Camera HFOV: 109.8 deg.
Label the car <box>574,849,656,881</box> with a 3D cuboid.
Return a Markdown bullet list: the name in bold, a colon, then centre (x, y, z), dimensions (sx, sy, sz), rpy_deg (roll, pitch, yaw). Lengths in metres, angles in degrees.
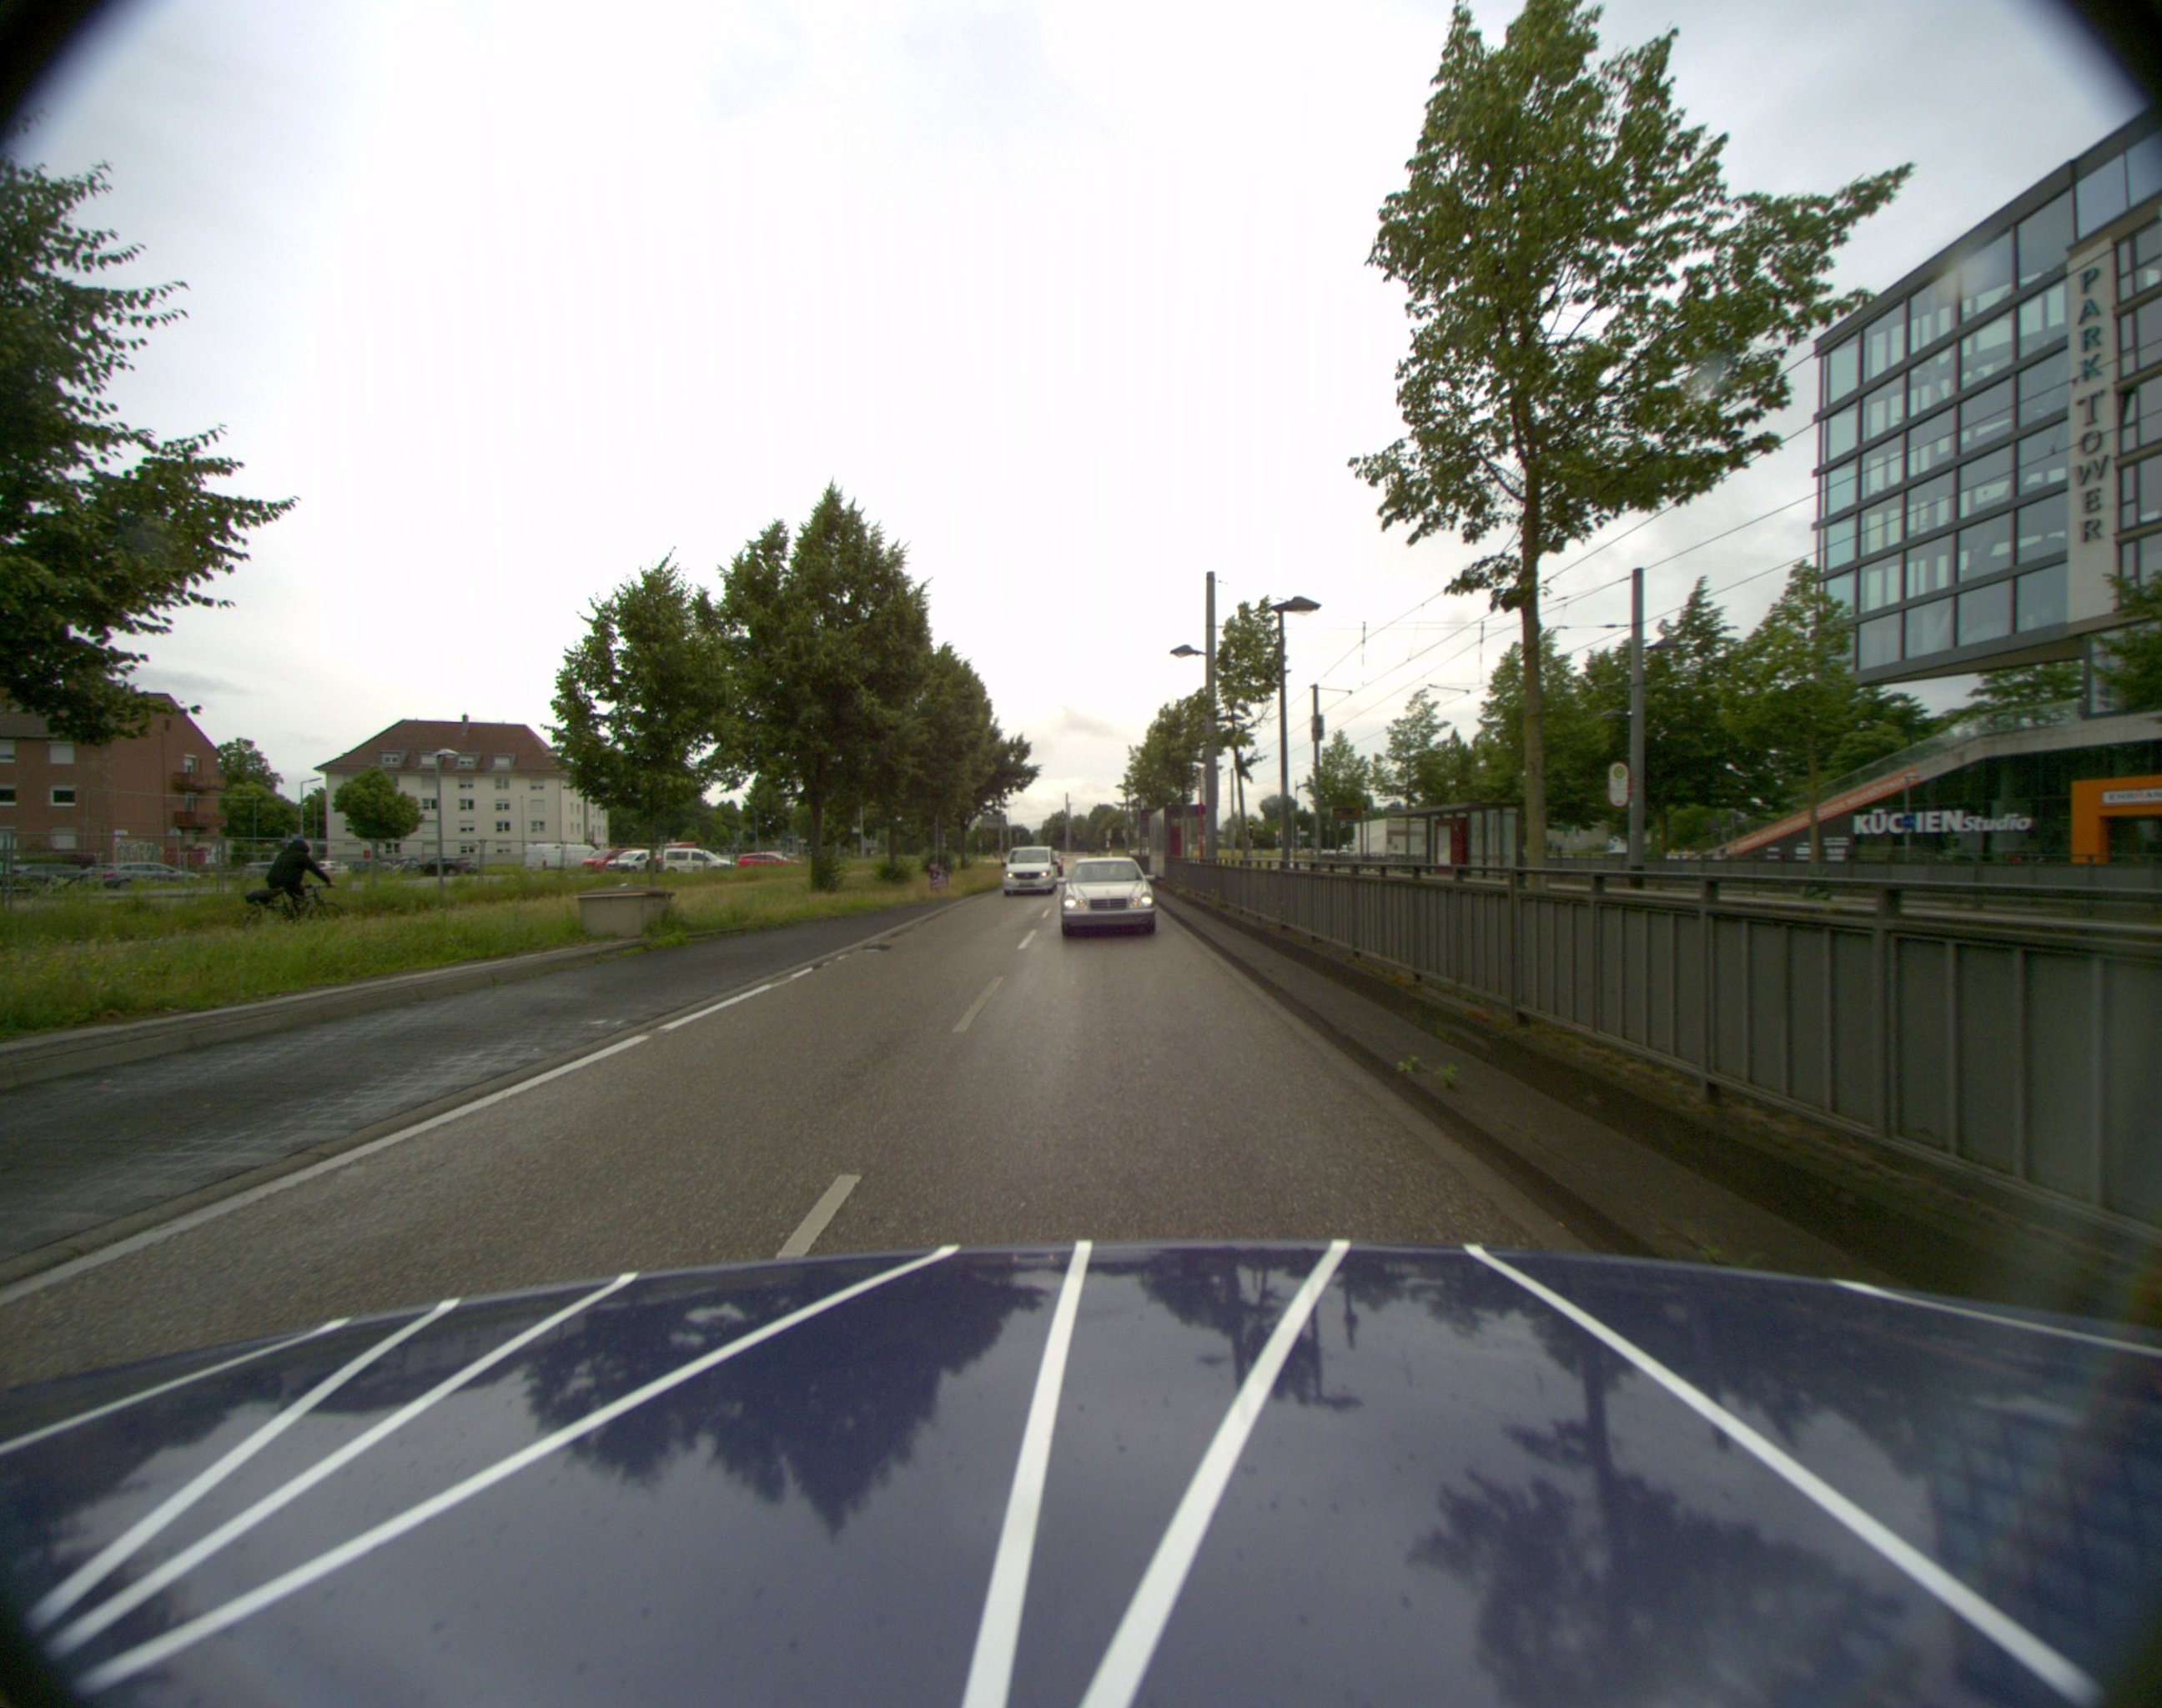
- **car**: centre (-35.133, 0.788, 57.487), dimensions (2.195, 2.297, 5.449), rpy_deg (-1, 0, 9)

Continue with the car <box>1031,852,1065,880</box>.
- **car**: centre (-2.007, 0.734, 47.806), dimensions (1.799, 1.603, 4.245), rpy_deg (0, 1, 2)

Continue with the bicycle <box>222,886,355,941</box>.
- **bicycle**: centre (-14.702, 1.081, 14.172), dimensions (0.548, 0.873, 1.745), rpy_deg (-1, 1, 4)

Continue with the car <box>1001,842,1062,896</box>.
- **car**: centre (-1.905, 0.526, 30.853), dimensions (1.972, 1.968, 5.091), rpy_deg (-1, 1, 1)

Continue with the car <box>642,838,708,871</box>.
- **car**: centre (-29.286, 0.027, 54.951), dimensions (1.996, 2.297, 4.004), rpy_deg (-1, 0, 14)

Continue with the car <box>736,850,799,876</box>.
- **car**: centre (-22.693, 0.653, 55.055), dimensions (3.803, 1.696, 1.680), rpy_deg (-2, 1, 4)

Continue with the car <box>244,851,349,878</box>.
- **car**: centre (-47.633, 0.634, 46.219), dimensions (1.995, 1.444, 4.006), rpy_deg (-2, 1, 27)

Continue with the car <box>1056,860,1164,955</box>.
- **car**: centre (0.533, 0.901, 14.737), dimensions (1.738, 1.451, 4.607), rpy_deg (-1, 0, 1)

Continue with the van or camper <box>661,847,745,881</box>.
- **van or camper**: centre (-23.884, 0.598, 48.090), dimensions (4.334, 2.002, 1.860), rpy_deg (-1, 1, -5)

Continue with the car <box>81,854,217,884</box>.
- **car**: centre (-48.909, 0.756, 40.000), dimensions (1.997, 1.364, 4.003), rpy_deg (-2, 1, 11)

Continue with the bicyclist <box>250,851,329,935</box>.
- **bicyclist**: centre (-14.710, 0.705, 14.141), dimensions (0.537, 1.497, 0.841), rpy_deg (-1, 1, 4)

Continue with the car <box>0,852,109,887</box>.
- **car**: centre (-48.401, 0.702, 35.082), dimensions (2.000, 1.510, 3.997), rpy_deg (-2, 1, -7)

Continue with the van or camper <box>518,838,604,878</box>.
- **van or camper**: centre (-41.822, 0.289, 61.334), dimensions (2.343, 3.017, 5.514), rpy_deg (-2, 1, 12)

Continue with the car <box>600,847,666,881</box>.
- **car**: centre (-32.744, 0.696, 55.612), dimensions (1.997, 2.297, 4.003), rpy_deg (-1, 0, 9)

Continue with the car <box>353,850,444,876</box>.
- **car**: centre (-45.239, 0.560, 50.457), dimensions (1.995, 1.543, 4.006), rpy_deg (-2, 1, 27)
